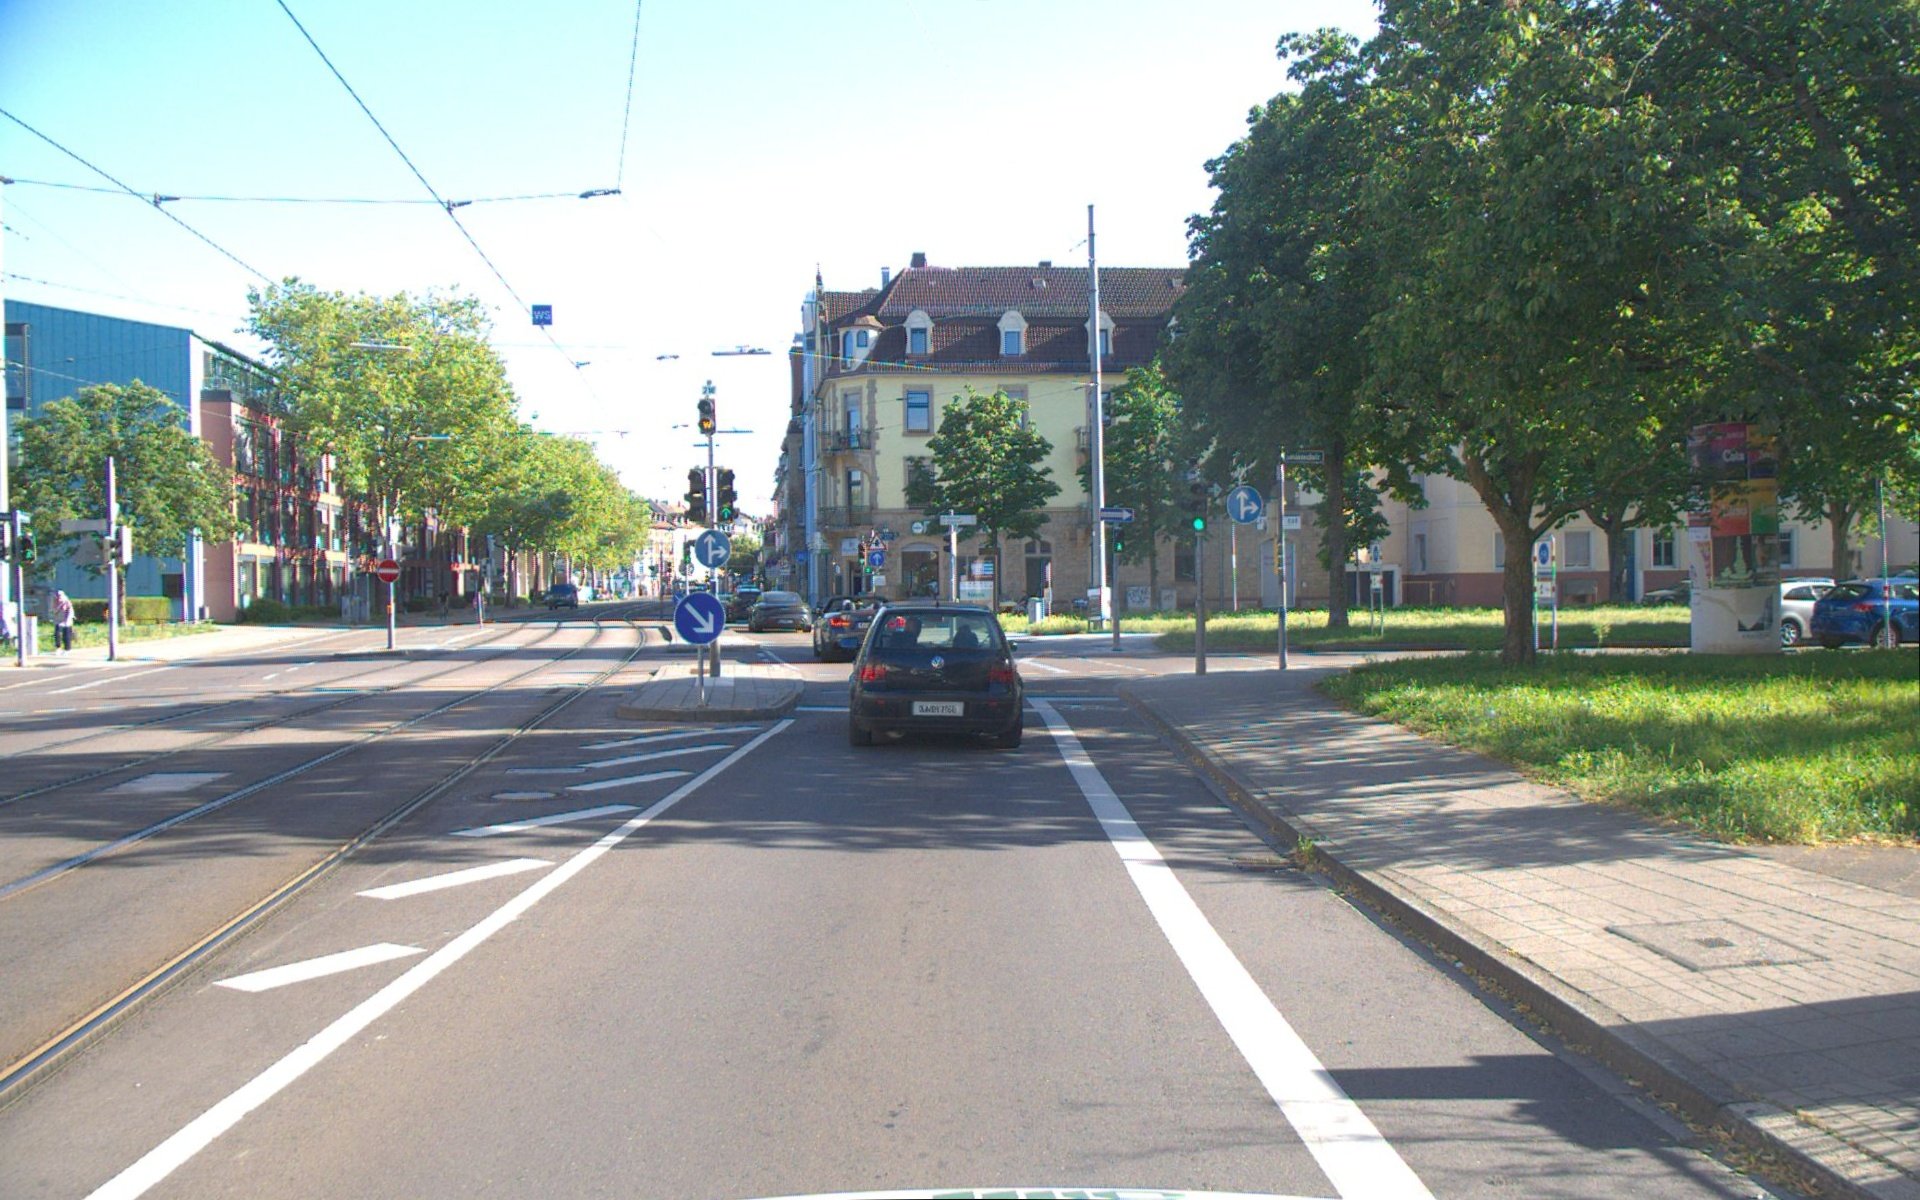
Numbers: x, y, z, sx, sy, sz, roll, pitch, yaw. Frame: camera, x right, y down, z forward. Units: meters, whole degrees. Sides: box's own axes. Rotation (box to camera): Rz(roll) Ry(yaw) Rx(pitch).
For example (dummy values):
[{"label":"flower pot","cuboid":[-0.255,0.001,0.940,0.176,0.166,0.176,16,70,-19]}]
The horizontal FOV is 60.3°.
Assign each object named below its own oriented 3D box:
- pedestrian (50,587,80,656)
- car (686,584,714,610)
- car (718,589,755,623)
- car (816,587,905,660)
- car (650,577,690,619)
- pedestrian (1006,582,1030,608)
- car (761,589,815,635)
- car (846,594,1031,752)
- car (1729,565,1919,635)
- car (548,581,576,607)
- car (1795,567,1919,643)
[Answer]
[{"label":"pedestrian","cuboid":[-22.660,0.538,41.892,0.602,1.719,0.727,2,0,-26]},{"label":"car","cuboid":[-15.818,-0.182,100.581,1.650,1.479,3.371,-1,0,-10]},{"label":"car","cuboid":[-10.049,0.260,74.380,1.541,1.334,3.493,-1,3,-9]},{"label":"car","cuboid":[-2.120,0.447,34.426,1.603,1.396,3.751,-1,1,-7]},{"label":"car","cuboid":[-13.599,-0.111,77.612,1.754,1.892,3.991,-2,1,-9]},{"label":"pedestrian","cuboid":[2.734,-0.230,77.953,0.961,1.208,0.742,-1,0,-9]},{"label":"car","cuboid":[-5.923,0.390,56.744,1.541,1.334,3.639,-1,3,-10]},{"label":"car","cuboid":[-0.286,0.665,17.131,1.681,1.427,4.004,1,0,-3]},{"label":"car","cuboid":[19.456,-0.019,37.028,3.726,1.466,1.742,-1,1,-8]},{"label":"car","cuboid":[-30.278,-0.466,125.961,1.937,1.847,4.284,-1,0,-12]},{"label":"car","cuboid":[19.497,0.068,34.116,3.923,1.474,1.782,-1,1,-17]}]
